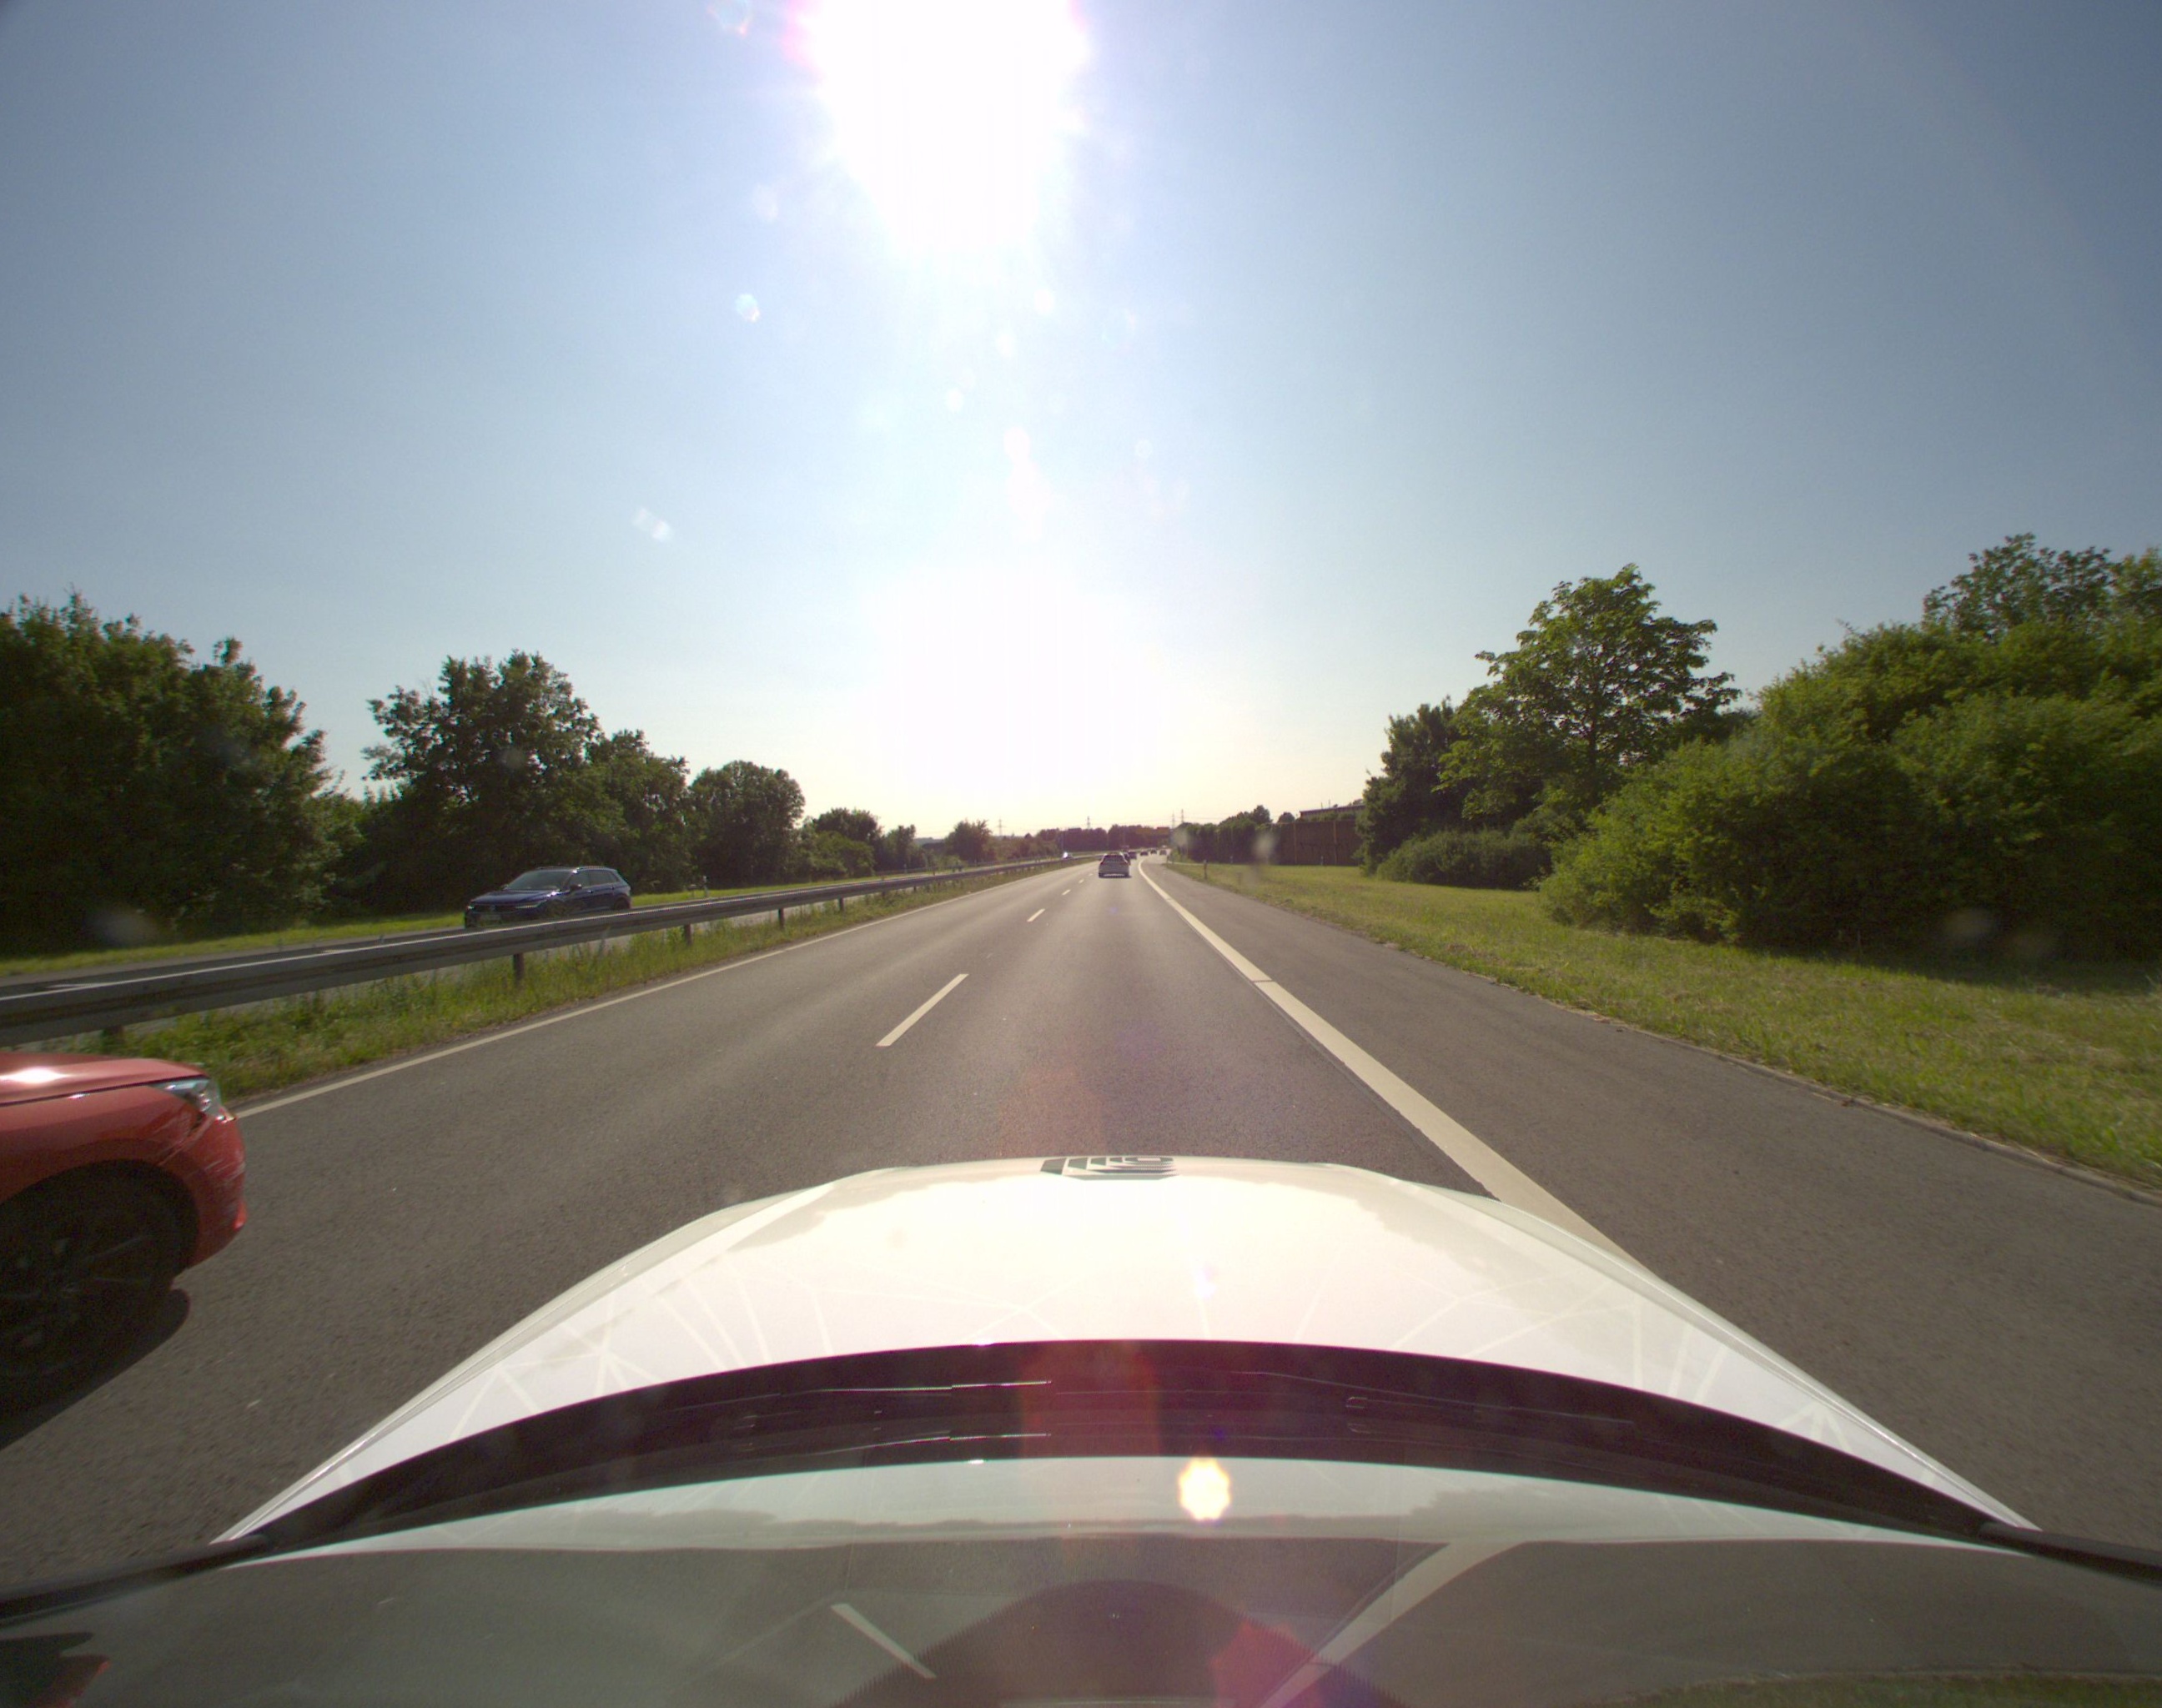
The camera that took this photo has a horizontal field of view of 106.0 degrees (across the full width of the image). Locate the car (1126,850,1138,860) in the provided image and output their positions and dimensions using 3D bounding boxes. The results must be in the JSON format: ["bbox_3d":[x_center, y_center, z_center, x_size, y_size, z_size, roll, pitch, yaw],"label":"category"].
[{"bbox_3d":[8.767,0.166,140.567,1.759,1.736,3.640,-1,0,7],"label":"car"}]

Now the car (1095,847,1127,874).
[{"bbox_3d":[1.879,0.369,50.889,1.951,1.601,4.110,-1,1,2],"label":"car"}]

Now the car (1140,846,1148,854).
[{"bbox_3d":[15.210,-0.952,196.358,1.832,1.802,4.007,-1,0,6],"label":"car"}]

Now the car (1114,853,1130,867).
[{"bbox_3d":[4.837,0.655,95.721,1.785,1.543,3.676,-1,0,4],"label":"car"}]

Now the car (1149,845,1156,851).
[{"bbox_3d":[21.016,-1.796,238.301,1.831,1.698,4.009,-1,0,8],"label":"car"}]

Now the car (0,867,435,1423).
[{"bbox_3d":[-3.754,0.817,1.363,1.703,1.437,4.413,-1,0,1],"label":"car"}]

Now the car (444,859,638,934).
[{"bbox_3d":[-13.596,0.985,20.885,1.986,1.605,4.276,-1,1,2],"label":"car"}]
